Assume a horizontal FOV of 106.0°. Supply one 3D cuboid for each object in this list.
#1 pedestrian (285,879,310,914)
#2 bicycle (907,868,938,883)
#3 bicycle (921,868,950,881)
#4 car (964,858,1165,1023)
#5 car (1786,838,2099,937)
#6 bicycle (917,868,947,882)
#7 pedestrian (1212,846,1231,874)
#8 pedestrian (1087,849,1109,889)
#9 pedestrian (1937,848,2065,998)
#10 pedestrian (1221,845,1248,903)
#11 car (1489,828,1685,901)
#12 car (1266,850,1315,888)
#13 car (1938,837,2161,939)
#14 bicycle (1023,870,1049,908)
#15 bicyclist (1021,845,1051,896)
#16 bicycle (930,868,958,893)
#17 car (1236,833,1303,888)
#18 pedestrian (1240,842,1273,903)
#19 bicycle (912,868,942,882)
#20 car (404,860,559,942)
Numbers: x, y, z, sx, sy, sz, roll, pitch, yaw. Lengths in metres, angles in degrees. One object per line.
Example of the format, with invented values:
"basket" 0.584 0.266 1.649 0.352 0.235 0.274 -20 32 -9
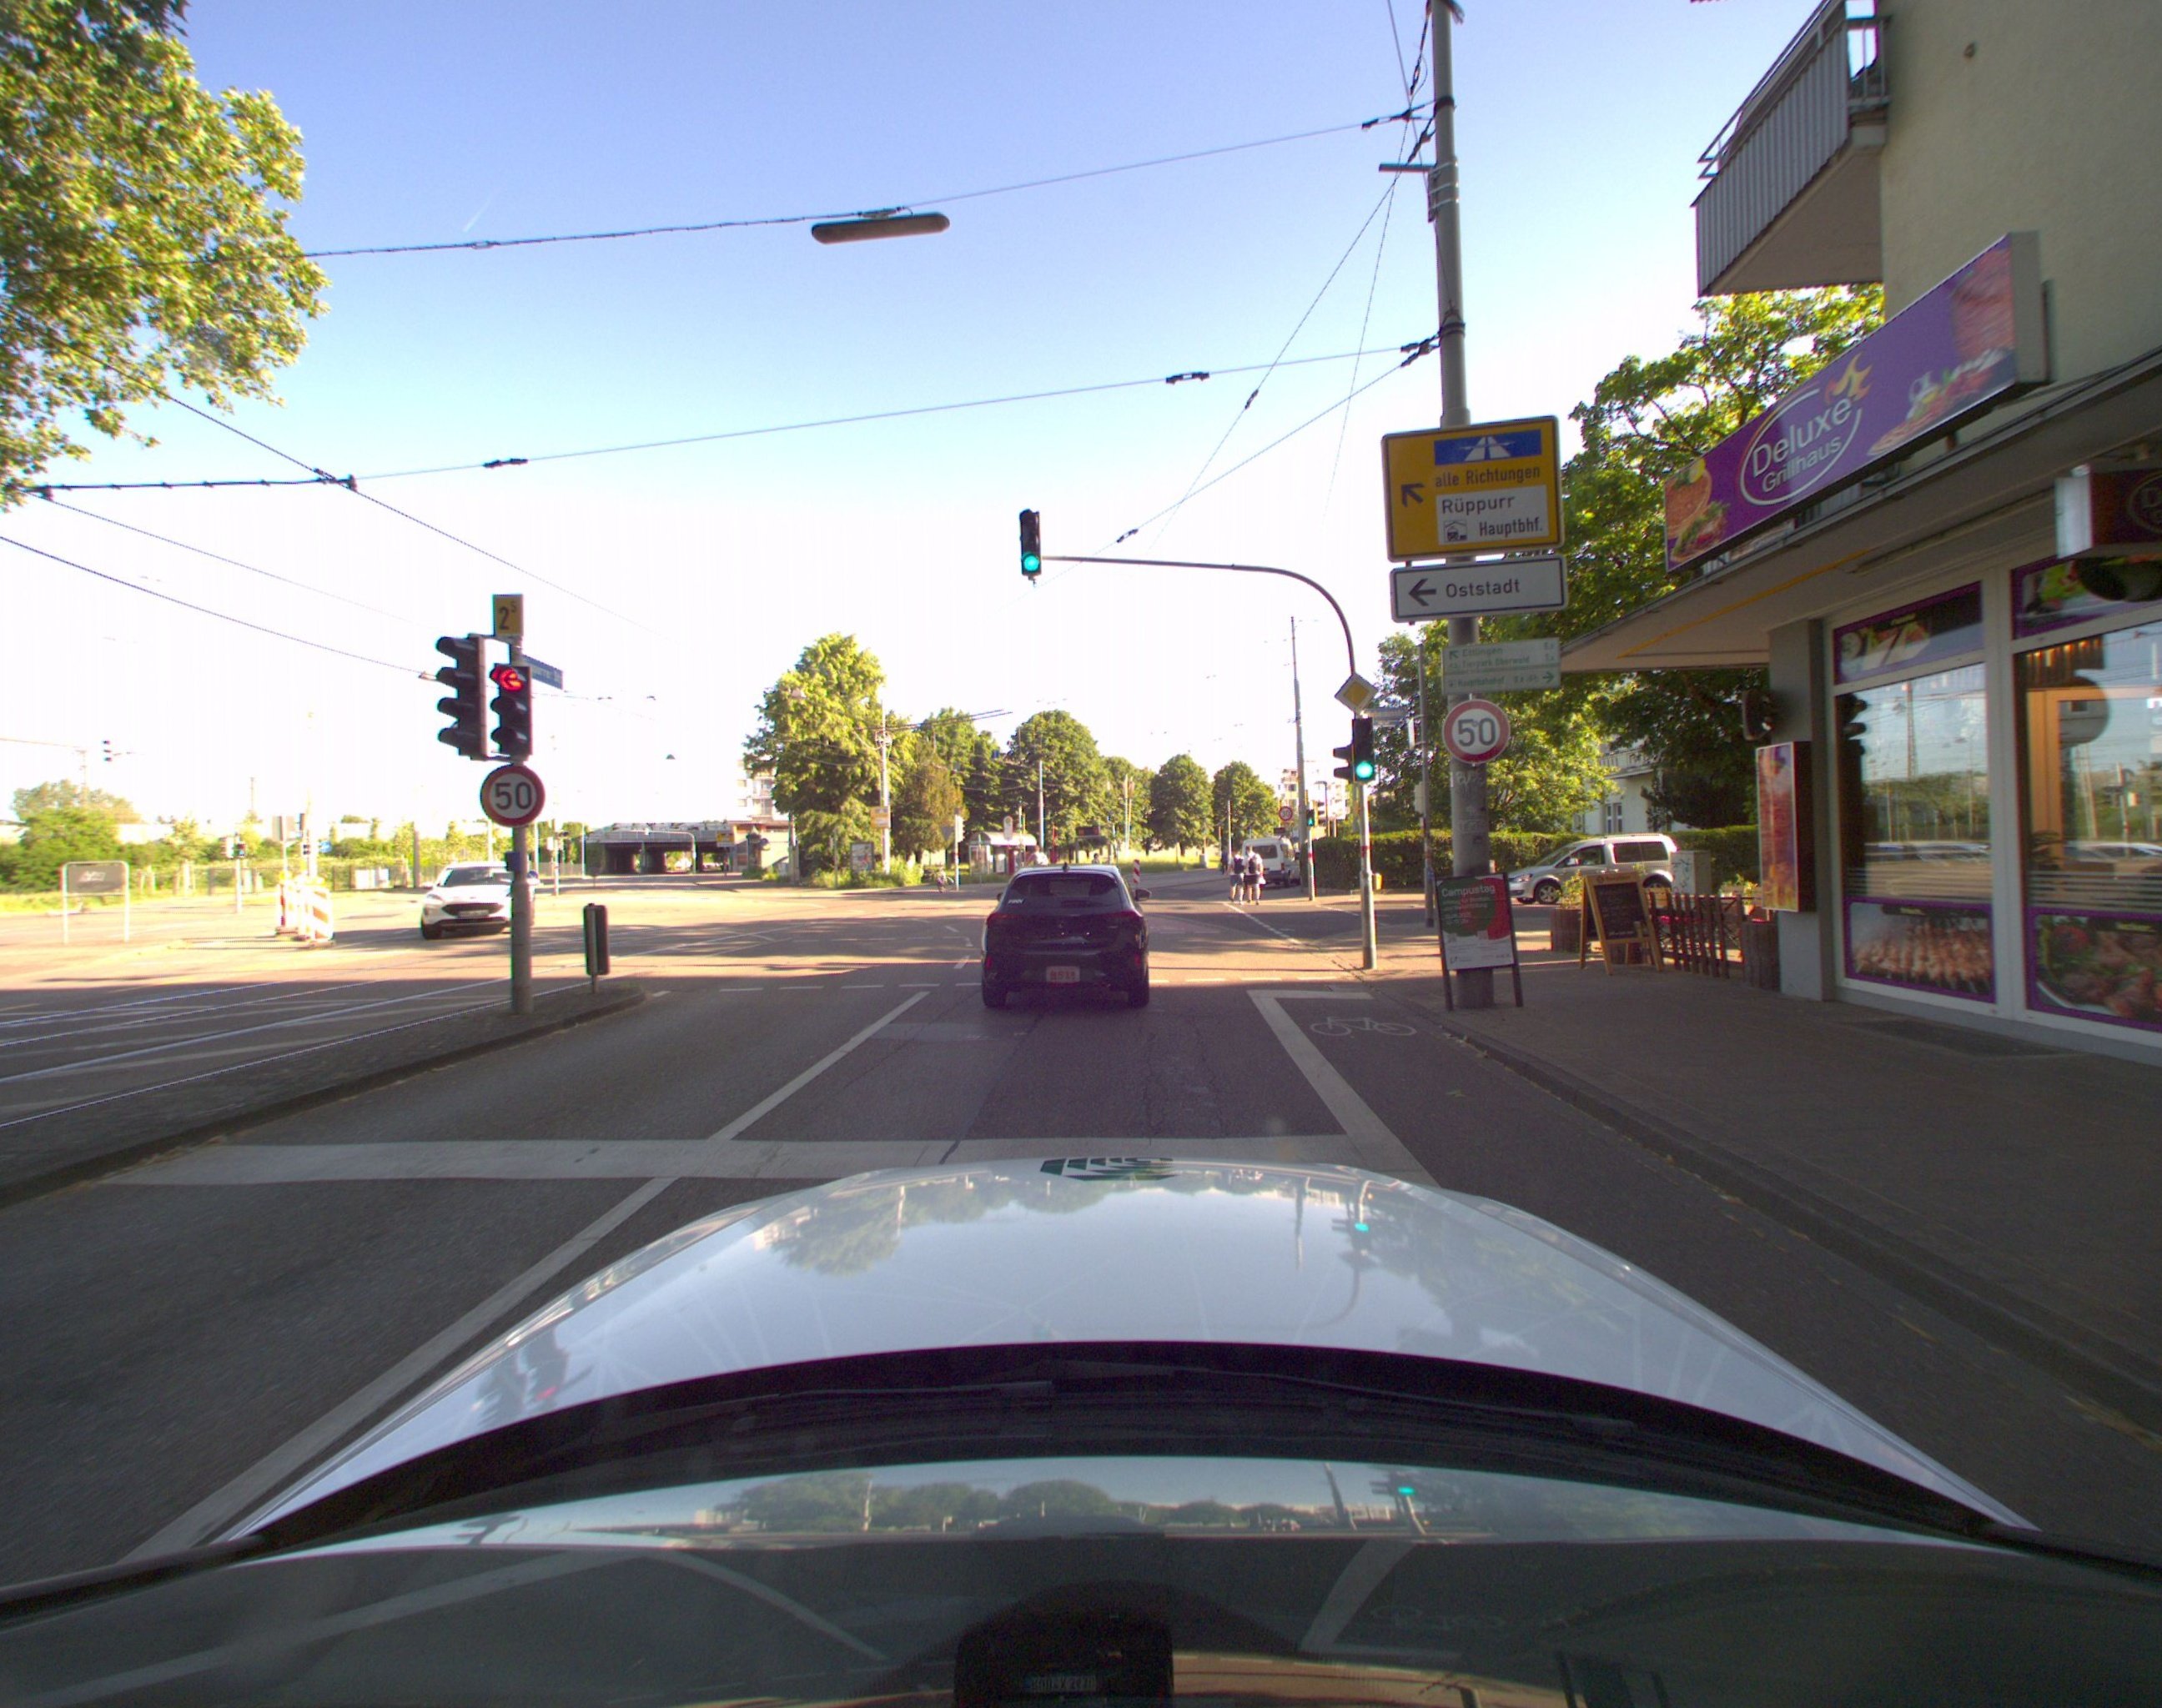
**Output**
"pedestrian" -36.458 1.979 37.901 0.602 1.596 0.679 1 -1 -26
"bicycle" -10.420 1.404 53.677 1.867 0.906 0.661 -1 0 6
"bicycle" -10.110 1.420 56.507 1.867 0.906 0.661 -1 0 6
"car" -0.101 0.795 9.375 1.794 1.441 3.941 -1 0 1
"car" 15.823 0.551 15.336 1.698 1.581 4.038 -1 0 2
"bicycle" -10.179 1.425 55.535 1.867 0.906 0.661 -1 0 6
"pedestrian" 9.302 0.416 53.744 0.949 1.793 1.001 -2 -1 25
"pedestrian" 0.726 0.660 35.693 0.701 1.693 0.722 -1 0 -23
"pedestrian" 8.606 0.623 7.641 0.490 1.342 0.608 -1 0 6
"pedestrian" 4.855 0.626 25.777 0.696 1.792 0.617 -1 0 -1
"car" 13.784 0.330 22.432 4.152 1.814 1.810 -2 -3 8
"car" 10.649 0.720 41.220 1.784 1.763 3.912 -2 0 23
"car" 18.156 0.535 14.523 1.704 1.618 3.907 -1 0 3
"bicycle" -1.357 1.029 24.821 0.665 1.059 2.081 -1 0 0
"bicyclist" -1.369 0.491 24.810 0.838 1.510 1.368 -1 0 -2
"bicycle" -6.142 1.188 36.521 0.822 1.059 1.884 -1 0 2
"car" 8.402 0.330 36.082 2.071 2.278 4.330 -1 -1 24
"pedestrian" 5.440 0.565 25.245 0.696 1.846 0.705 -2 -1 39
"bicycle" -10.326 1.422 54.663 1.867 0.906 0.661 -1 0 6
"car" -13.825 0.980 19.113 2.003 1.631 4.592 -1 0 -25
